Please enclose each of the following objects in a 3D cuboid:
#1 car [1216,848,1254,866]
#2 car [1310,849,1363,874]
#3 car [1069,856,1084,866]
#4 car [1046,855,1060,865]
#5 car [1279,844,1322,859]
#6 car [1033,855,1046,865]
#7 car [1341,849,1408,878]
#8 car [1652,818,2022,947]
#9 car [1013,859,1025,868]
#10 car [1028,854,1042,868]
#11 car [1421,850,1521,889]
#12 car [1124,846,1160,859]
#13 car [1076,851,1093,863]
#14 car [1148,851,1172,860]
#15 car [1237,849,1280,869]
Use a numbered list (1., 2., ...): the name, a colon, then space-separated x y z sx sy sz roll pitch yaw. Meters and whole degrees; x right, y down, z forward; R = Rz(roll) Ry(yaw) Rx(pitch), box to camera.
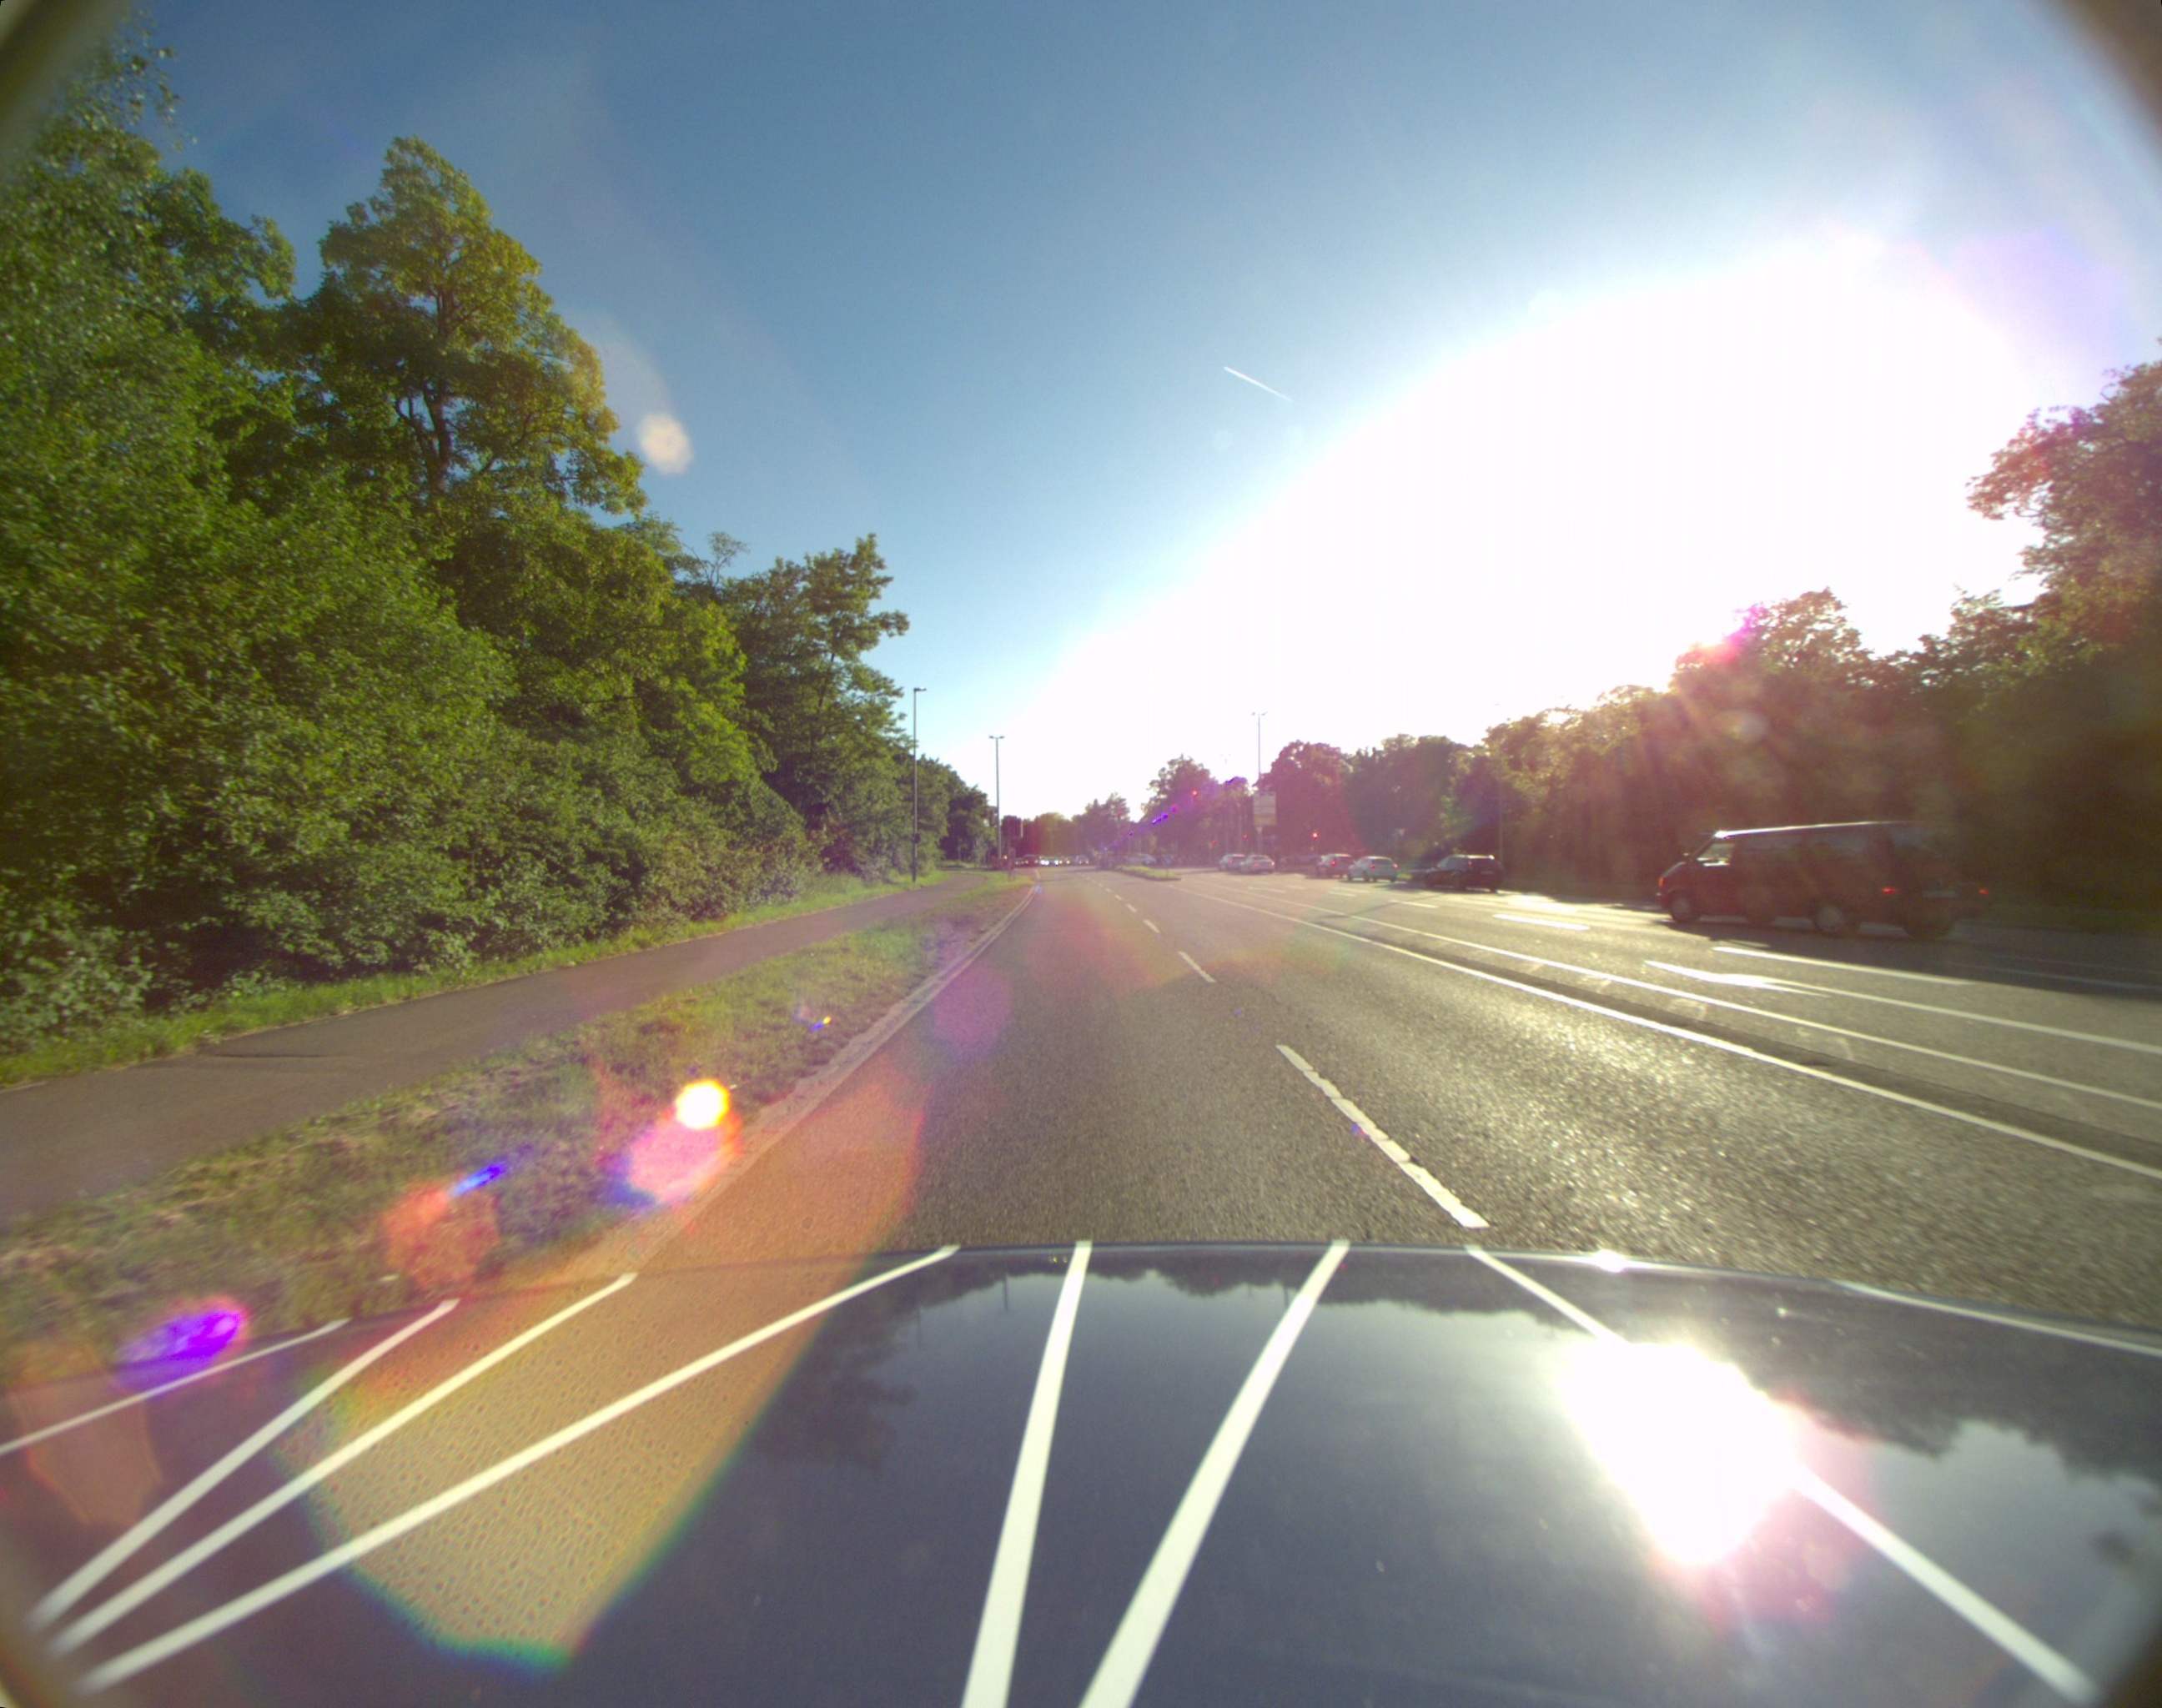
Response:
1. car: 13.316 0.237 65.951 1.999 1.442 4.840 0 0 -5
2. car: 17.475 0.468 52.203 1.998 1.555 4.647 2 0 0
3. car: -0.673 1.078 119.527 1.999 1.510 3.997 -2 1 -5
4. car: -4.405 0.912 118.626 1.999 1.510 3.997 -2 1 -5
5. car: 25.997 -0.317 89.972 4.732 1.677 2.003 -1 0 19
6. car: -6.926 0.961 125.587 1.999 1.510 3.997 -2 1 -5
7. car: 17.226 0.532 44.889 1.999 1.555 4.646 2 0 -2
8. car: 13.288 0.427 13.918 1.999 1.950 4.646 1 0 -3
9. car: -10.789 1.643 132.243 1.999 1.510 3.997 -2 1 -5
10. car: -7.091 1.053 116.797 1.999 2.057 3.997 -2 1 -5
11. car: 17.117 0.641 33.621 1.998 1.555 4.647 2 0 0
12. car: 7.223 -0.199 89.896 2.004 1.510 3.989 -1 0 -38
13. car: 0.415 0.423 107.580 1.999 1.510 3.997 -2 1 -5
14. car: 15.399 0.268 148.206 4.002 1.510 1.997 -2 1 -17
15. car: 13.612 0.335 58.521 1.999 1.442 4.646 1 0 -3
